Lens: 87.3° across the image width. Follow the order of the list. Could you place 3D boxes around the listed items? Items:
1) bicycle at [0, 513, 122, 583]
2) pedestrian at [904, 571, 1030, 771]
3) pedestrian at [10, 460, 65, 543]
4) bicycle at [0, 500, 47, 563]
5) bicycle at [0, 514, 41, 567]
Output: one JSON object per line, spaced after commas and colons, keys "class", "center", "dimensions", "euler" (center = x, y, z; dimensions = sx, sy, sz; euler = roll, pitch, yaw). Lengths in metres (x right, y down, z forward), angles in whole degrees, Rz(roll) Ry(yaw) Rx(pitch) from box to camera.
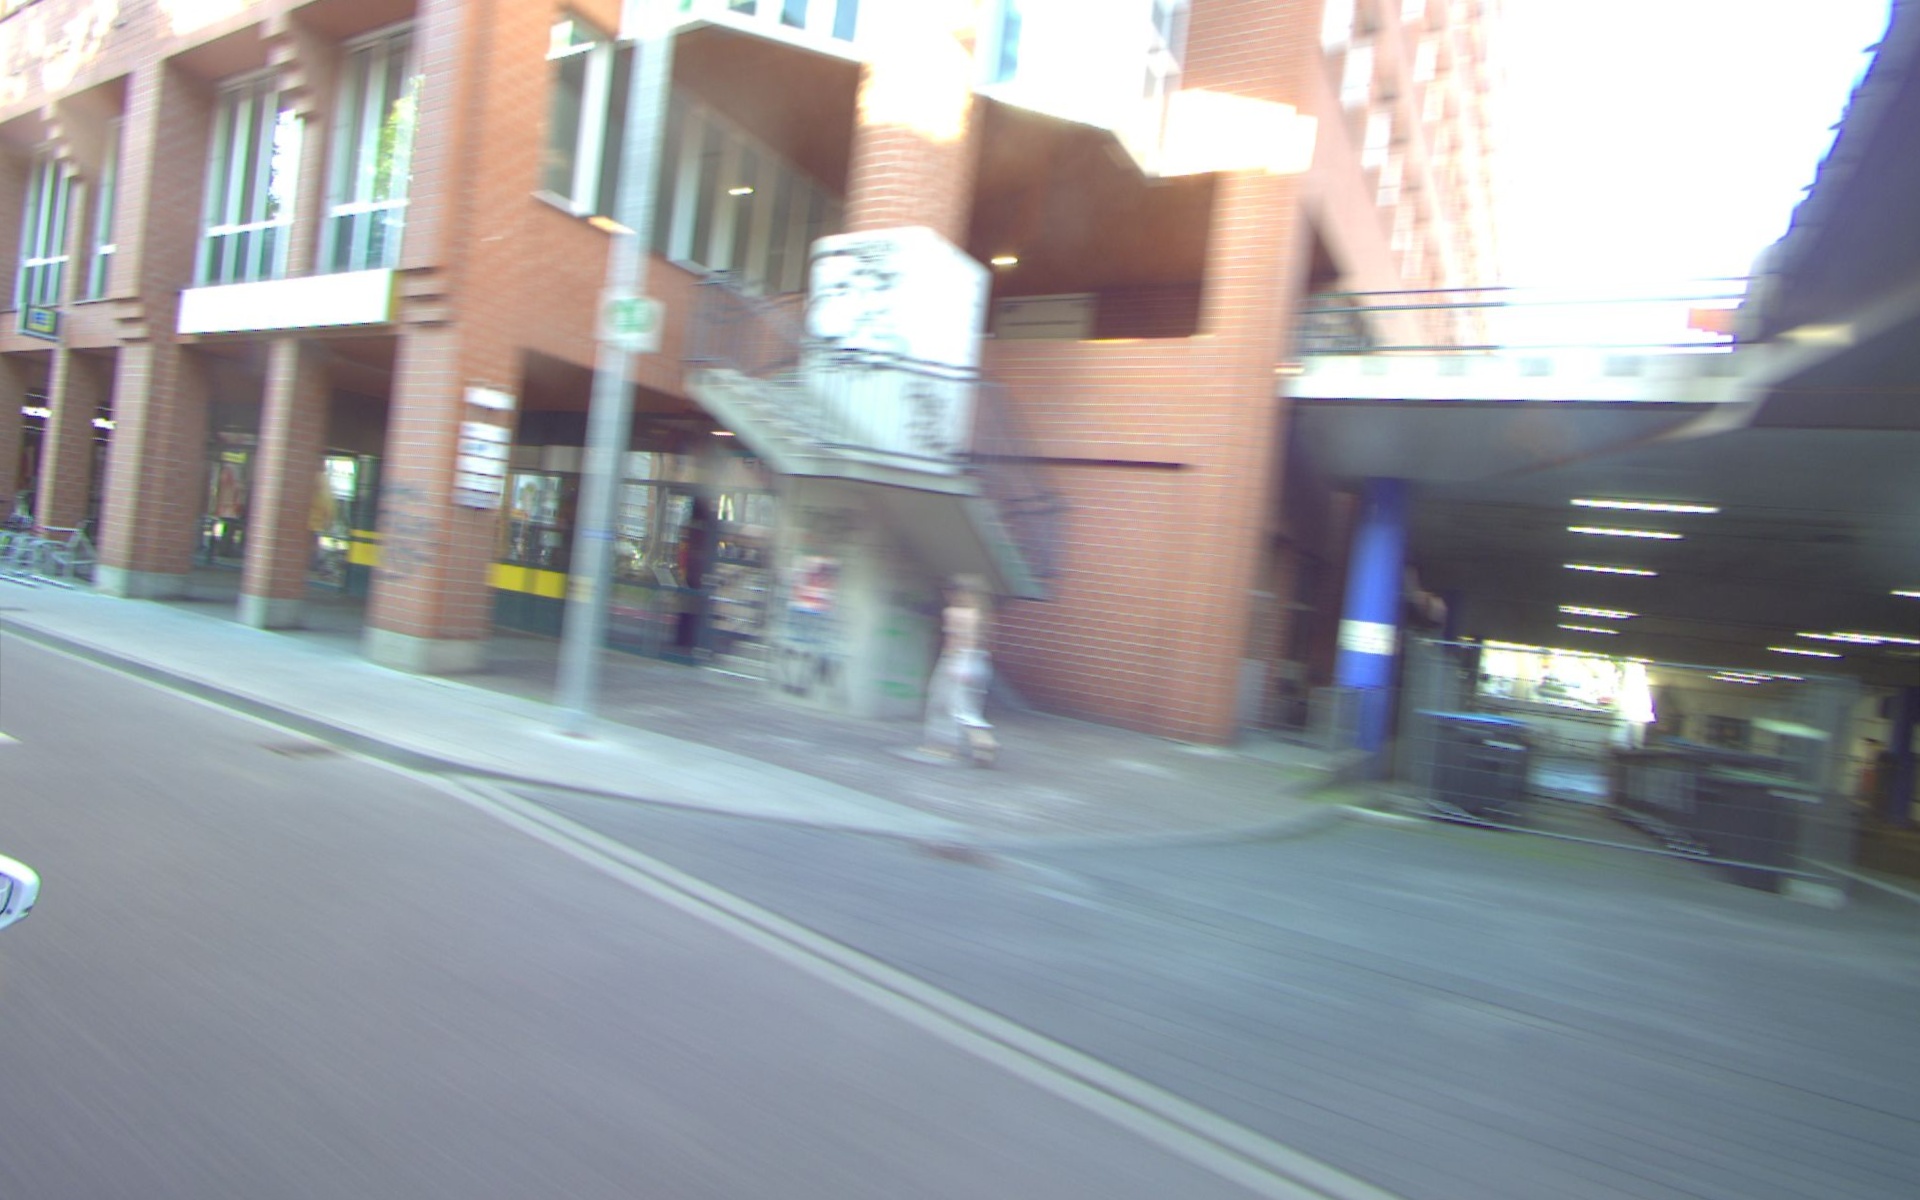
{"class": "bicycle", "center": [-14.216, -0.807, 15.714], "dimensions": [0.546, 0.967, 1.611], "euler": [8, 2, 32]}
{"class": "pedestrian", "center": [0.066, 0.625, 9.051], "dimensions": [0.764, 1.653, 0.570], "euler": [7, 0, 30]}
{"class": "pedestrian", "center": [-21.763, -2.312, 23.732], "dimensions": [0.598, 1.818, 0.660], "euler": [8, 1, 27]}
{"class": "bicycle", "center": [-17.577, -1.289, 17.833], "dimensions": [0.563, 1.070, 1.933], "euler": [7, 2, 34]}
{"class": "bicycle", "center": [-16.548, -1.041, 17.067], "dimensions": [0.418, 0.852, 1.334], "euler": [8, 2, 32]}
